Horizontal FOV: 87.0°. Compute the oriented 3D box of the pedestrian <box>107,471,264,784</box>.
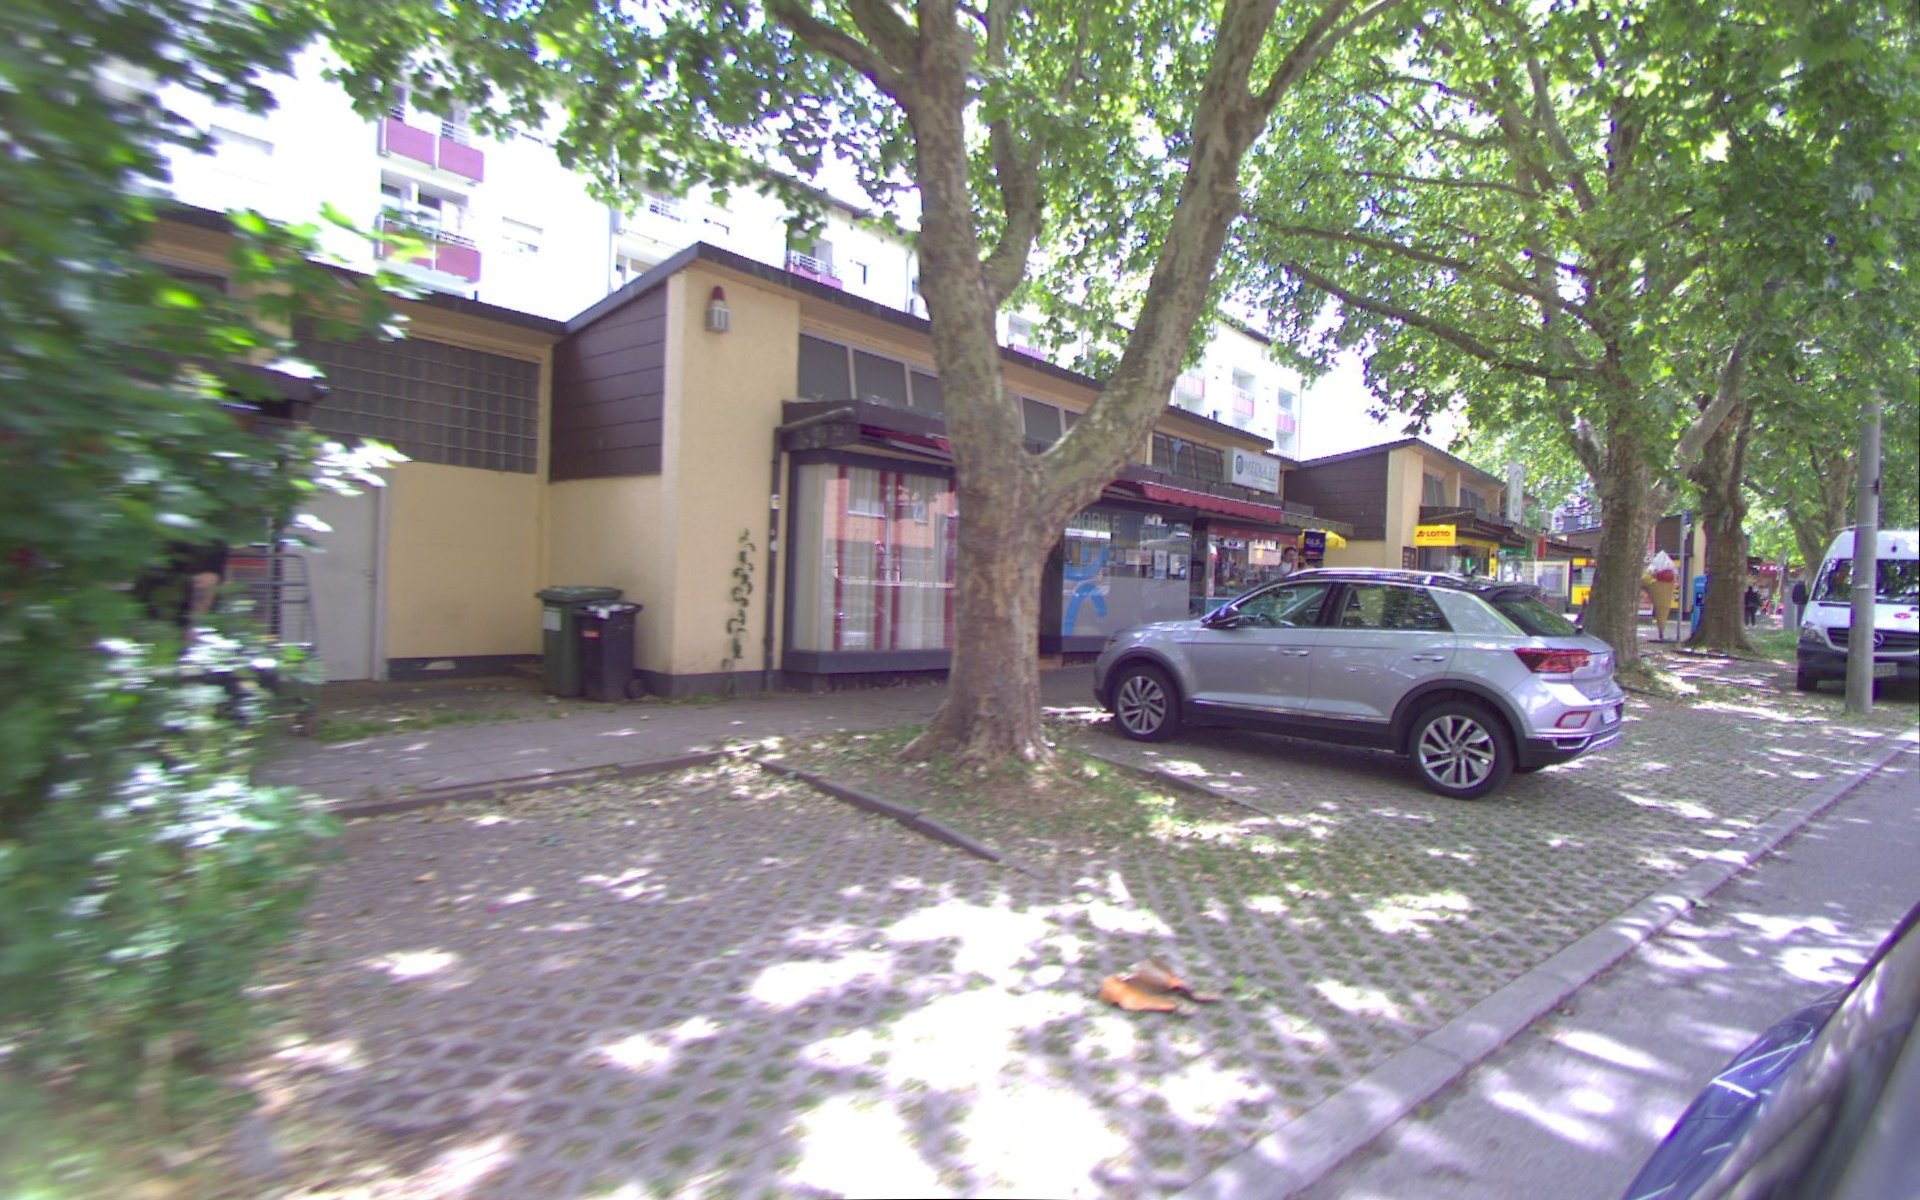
[{"bbox_3d":[-4.698,0.135,6.128,0.648,1.746,0.759,0,2,-45],"label":"pedestrian"}]

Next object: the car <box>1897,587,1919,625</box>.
[{"bbox_3d":[43.193,0.317,43.518,1.699,1.631,4.041,0,2,-37],"label":"car"}]

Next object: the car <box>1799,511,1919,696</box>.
[{"bbox_3d":[15.882,0.027,16.750,6.714,2.612,1.908,0,3,-41],"label":"car"}]

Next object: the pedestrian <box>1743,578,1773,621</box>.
[{"bbox_3d":[27.819,-0.014,35.288,1.011,1.465,0.626,1,1,-41],"label":"pedestrian"}]

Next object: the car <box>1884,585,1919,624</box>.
[{"bbox_3d":[39.691,0.213,40.876,1.584,1.533,3.409,0,2,-44],"label":"car"}]

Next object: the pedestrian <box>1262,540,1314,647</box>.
[{"bbox_3d":[5.746,-0.135,17.755,0.595,1.823,0.926,1,2,3],"label":"pedestrian"}]

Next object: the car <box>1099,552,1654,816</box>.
[{"bbox_3d":[3.188,0.461,8.247,3.830,1.581,1.595,4,3,43],"label":"car"}]

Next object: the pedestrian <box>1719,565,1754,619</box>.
[{"bbox_3d":[27.933,-0.290,36.410,0.925,1.906,0.745,0,4,-41],"label":"pedestrian"}]

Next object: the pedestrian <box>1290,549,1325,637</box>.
[{"bbox_3d":[7.271,-0.152,21.174,0.516,1.816,0.527,1,1,39],"label":"pedestrian"}]

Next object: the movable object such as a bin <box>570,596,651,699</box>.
[{"bbox_3d":[-3.330,0.432,9.655,0.436,0.925,0.579,3,2,40],"label":"movable object such as a bin"}]

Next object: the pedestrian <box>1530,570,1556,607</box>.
[{"bbox_3d":[24.687,-0.494,42.847,0.749,1.554,0.894,2,1,42],"label":"pedestrian"}]

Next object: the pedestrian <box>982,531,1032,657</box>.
[{"bbox_3d":[0.660,-0.096,14.146,0.544,1.725,0.367,3,2,43],"label":"pedestrian"}]

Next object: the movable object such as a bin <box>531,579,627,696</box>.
[{"bbox_3d":[-3.753,0.348,9.981,0.518,1.081,0.699,3,2,39],"label":"movable object such as a bin"}]
